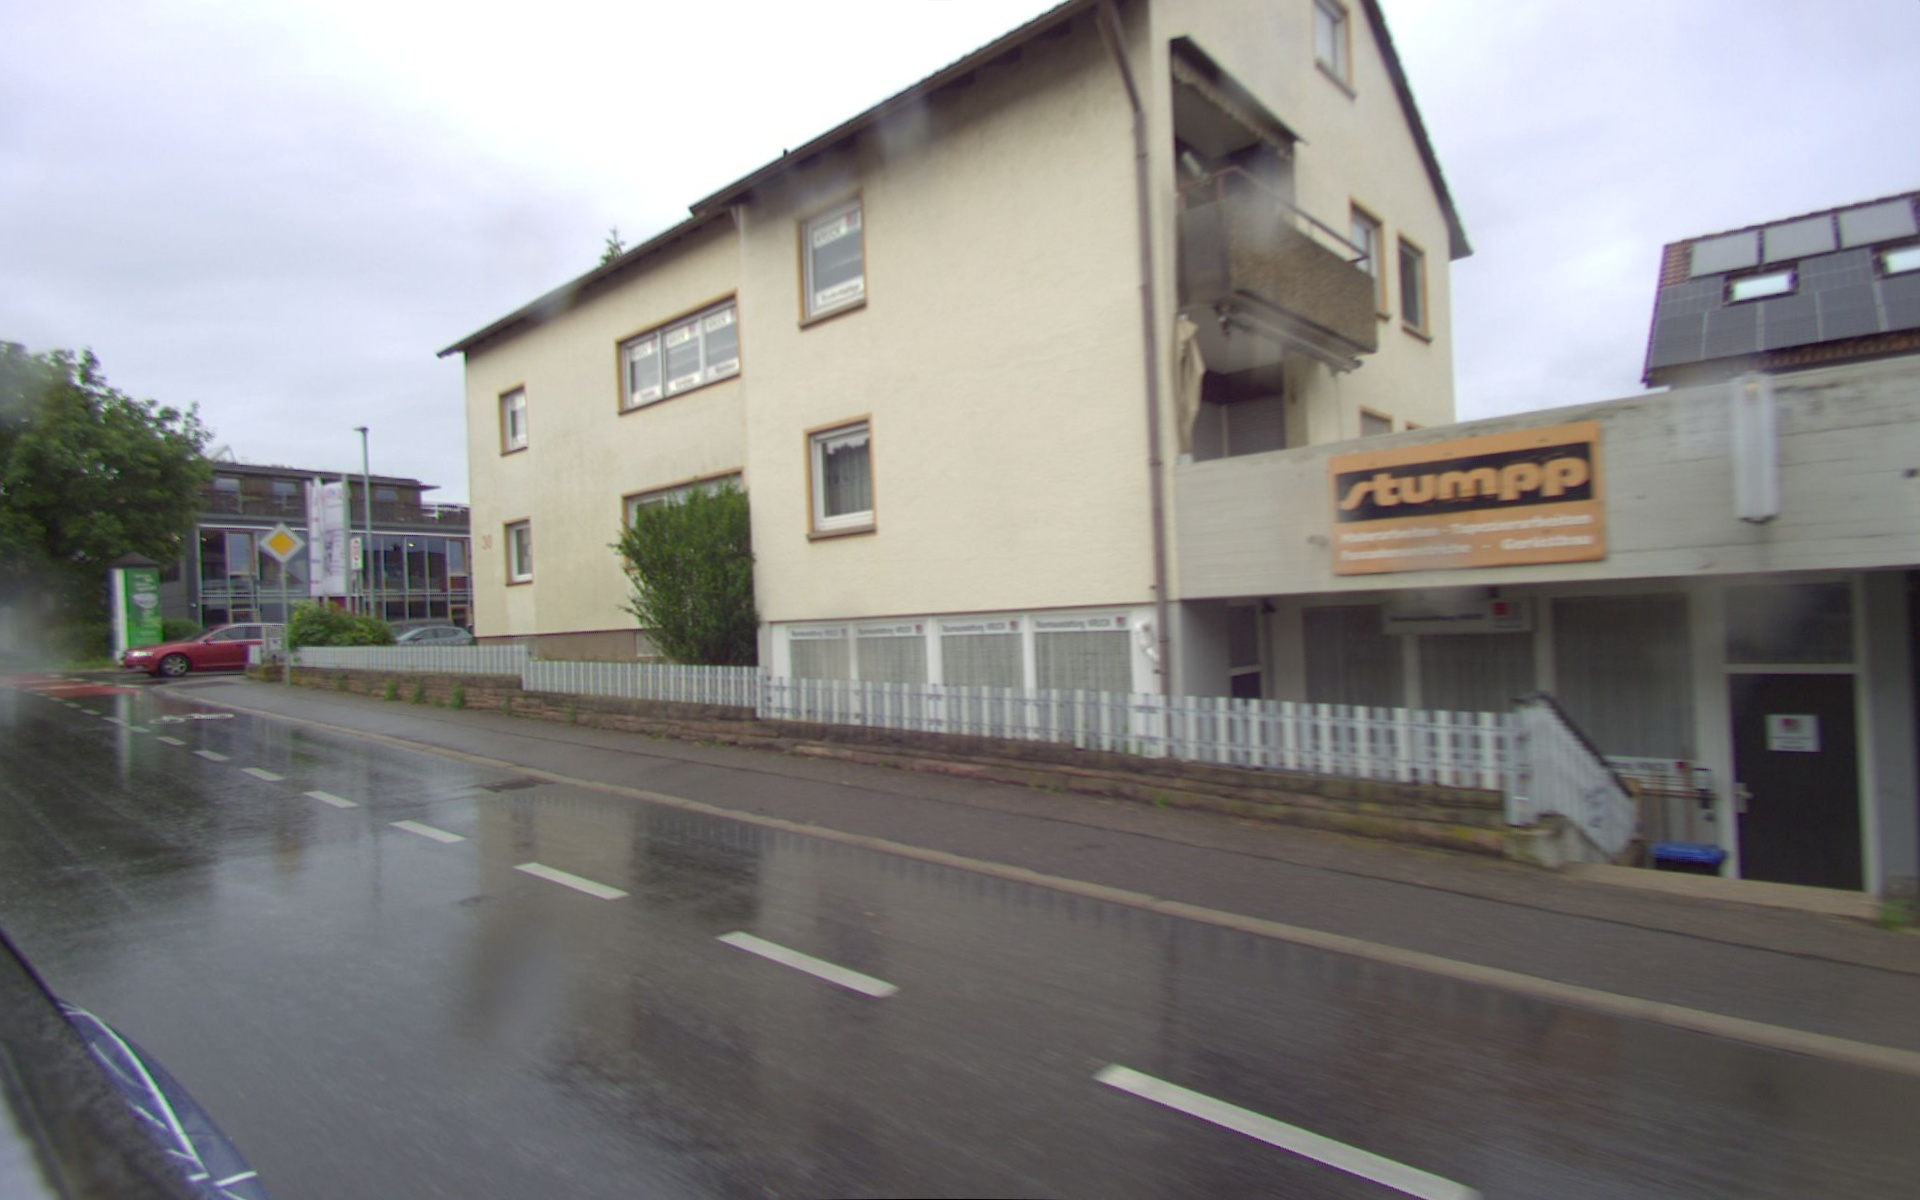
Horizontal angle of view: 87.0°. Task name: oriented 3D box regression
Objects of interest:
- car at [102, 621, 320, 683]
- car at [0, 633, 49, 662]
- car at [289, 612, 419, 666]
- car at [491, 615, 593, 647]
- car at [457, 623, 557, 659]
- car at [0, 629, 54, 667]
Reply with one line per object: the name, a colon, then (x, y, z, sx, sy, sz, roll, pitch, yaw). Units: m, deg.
car: (-20.853, 1.413, 28.353, 1.872, 1.579, 4.598, -3, -2, 38)
car: (-44.767, 2.222, 46.634, 1.578, 1.294, 3.868, -3, -2, 34)
car: (-26.775, 1.698, 44.825, 2.147, 2.028, 4.364, -5, -1, 32)
car: (-21.557, 1.589, 52.368, 2.169, 1.579, 4.521, -2, -2, 28)
car: (-24.230, 2.169, 54.275, 2.041, 1.804, 4.511, -3, -2, 34)
car: (-38.687, 1.930, 40.869, 1.250, 1.466, 2.884, -1, -1, 34)
